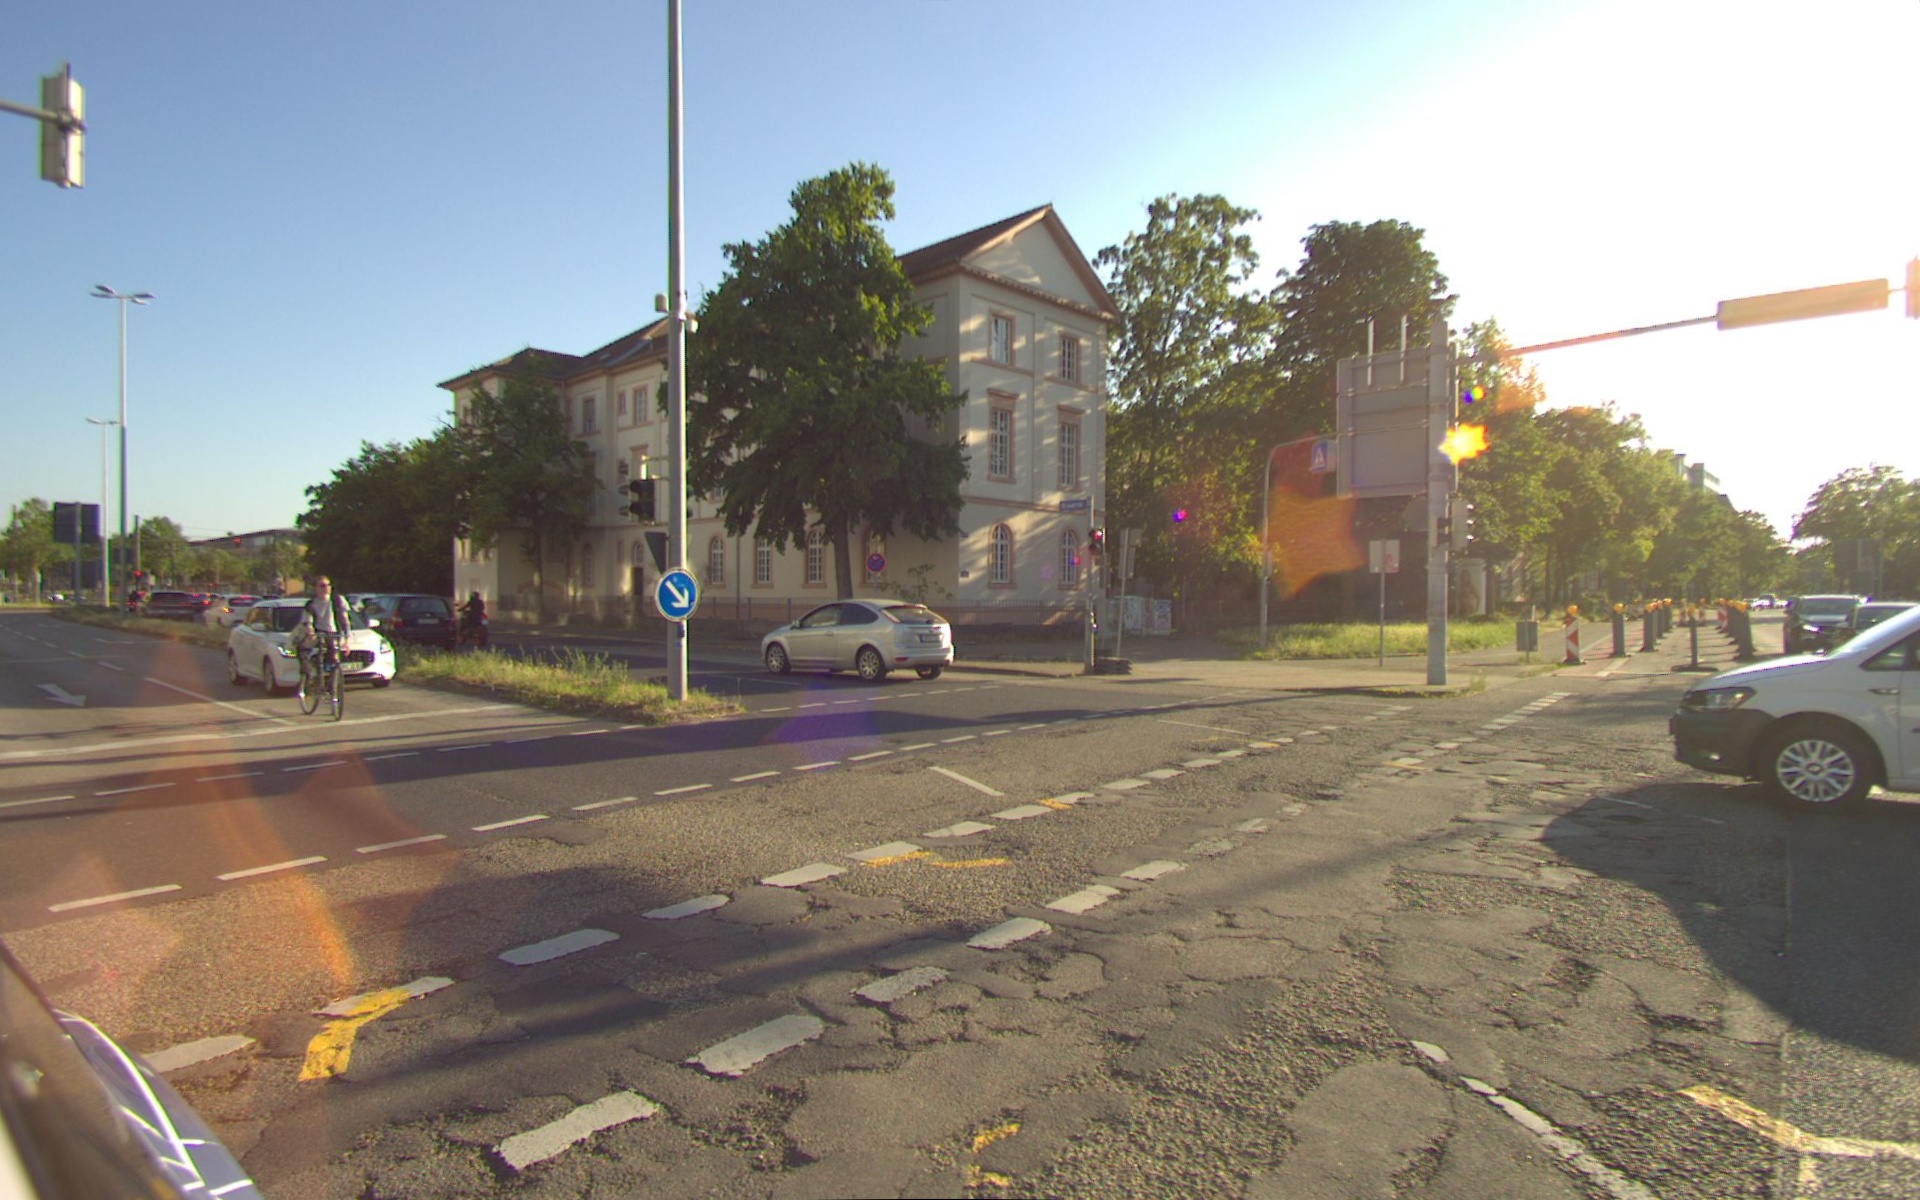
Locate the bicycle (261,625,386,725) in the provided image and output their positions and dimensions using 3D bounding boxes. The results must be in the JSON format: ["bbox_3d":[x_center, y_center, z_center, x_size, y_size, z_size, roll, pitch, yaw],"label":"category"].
[{"bbox_3d":[-8.184,0.914,12.984,2.080,1.116,0.823,1,1,42],"label":"bicycle"}]

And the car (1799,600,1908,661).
[{"bbox_3d":[23.534,0.739,26.776,1.998,1.457,3.599,1,1,39],"label":"car"}]

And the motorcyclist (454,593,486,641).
[{"bbox_3d":[-14.896,0.512,30.767,0.755,1.417,0.613,0,1,40],"label":"motorcyclist"}]

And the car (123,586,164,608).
[{"bbox_3d":[-60.011,-0.225,74.425,2.015,1.566,4.304,0,1,-34],"label":"car"}]

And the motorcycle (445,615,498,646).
[{"bbox_3d":[-14.846,0.908,30.720,2.160,0.886,0.632,1,1,40],"label":"motorcycle"}]

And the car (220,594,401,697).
[{"bbox_3d":[-10.966,0.666,17.005,3.709,1.510,1.741,1,1,44],"label":"car"}]

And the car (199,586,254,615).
[{"bbox_3d":[-43.340,0.029,59.777,4.291,1.648,1.741,1,1,42],"label":"car"}]

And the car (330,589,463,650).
[{"bbox_3d":[-14.744,0.451,26.388,4.291,1.473,1.741,1,1,42],"label":"car"}]

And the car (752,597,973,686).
[{"bbox_3d":[-1.935,0.700,19.225,4.291,1.473,1.741,1,1,42],"label":"car"}]

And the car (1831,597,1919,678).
[{"bbox_3d":[18.520,0.686,19.880,1.998,1.457,3.599,1,1,39],"label":"car"}]

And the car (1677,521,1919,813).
[{"bbox_3d":[7.622,0.432,6.404,4.942,1.861,1.809,1,1,39],"label":"car"}]

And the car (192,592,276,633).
[{"bbox_3d":[-27.786,0.434,38.700,4.291,1.473,1.741,1,1,42],"label":"car"}]

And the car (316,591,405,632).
[{"bbox_3d":[-22.908,0.391,38.608,4.291,1.473,1.741,1,1,42],"label":"car"}]

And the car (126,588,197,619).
[{"bbox_3d":[-39.017,0.144,49.442,4.291,1.473,2.021,1,1,42],"label":"car"}]

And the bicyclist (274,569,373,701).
[{"bbox_3d":[-8.187,0.425,13.013,1.023,1.616,0.827,0,0,42],"label":"bicyclist"}]
